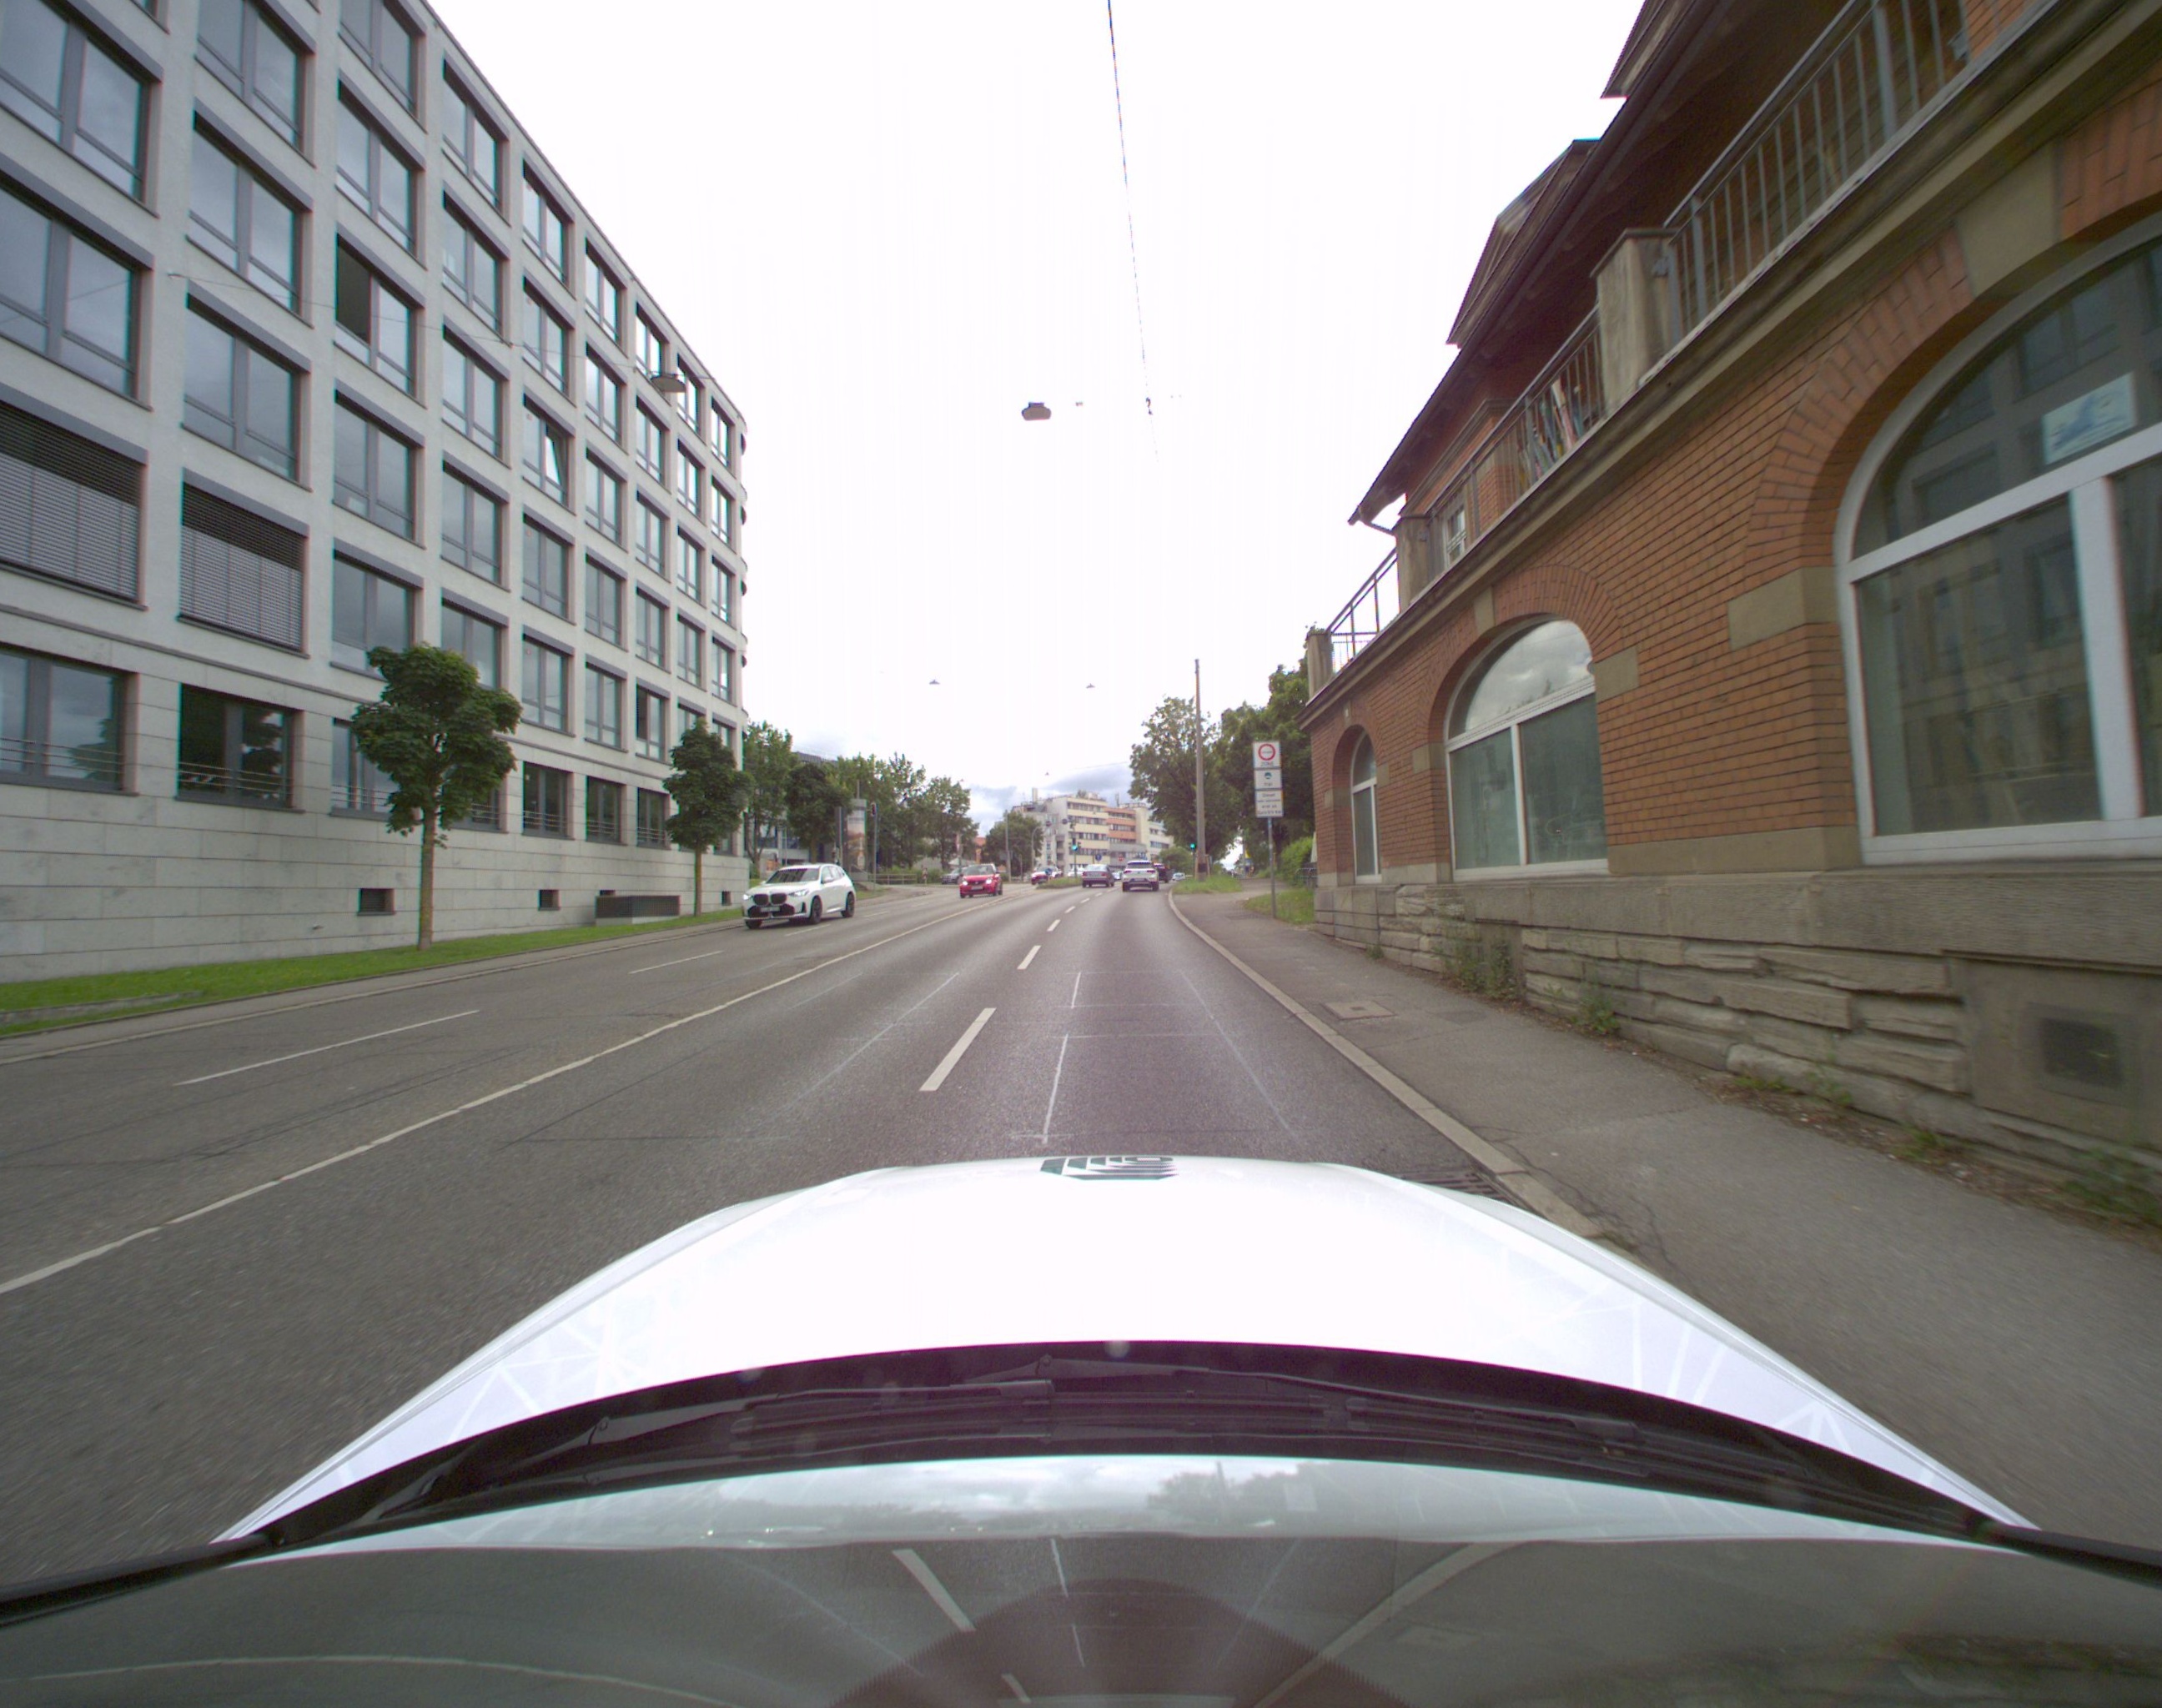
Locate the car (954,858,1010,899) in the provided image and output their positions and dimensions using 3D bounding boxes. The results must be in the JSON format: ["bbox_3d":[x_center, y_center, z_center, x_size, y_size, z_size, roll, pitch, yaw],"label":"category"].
[{"bbox_3d":[-4.667,1.128,38.907,1.862,1.702,4.431,-4,0,2],"label":"car"}]

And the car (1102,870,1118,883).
[{"bbox_3d":[3.725,2.849,103.143,1.769,1.481,4.487,-2,-1,5],"label":"car"}]

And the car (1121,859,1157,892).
[{"bbox_3d":[3.056,1.058,42.241,1.691,1.548,3.743,1,1,7],"label":"car"}]

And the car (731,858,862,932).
[{"bbox_3d":[-7.977,1.073,23.392,1.862,1.789,4.656,-4,0,2],"label":"car"}]

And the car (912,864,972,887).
[{"bbox_3d":[-10.134,1.558,59.383,4.023,1.544,1.759,0,-1,-45],"label":"car"}]

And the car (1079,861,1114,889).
[{"bbox_3d":[0.988,1.232,49.519,1.690,1.516,3.744,-2,0,8],"label":"car"}]

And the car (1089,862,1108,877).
[{"bbox_3d":[1.937,1.699,88.417,1.769,1.565,4.005,-2,-1,5],"label":"car"}]

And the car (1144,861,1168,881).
[{"bbox_3d":[5.805,1.322,63.661,1.693,1.516,3.496,-1,-2,3],"label":"car"}]

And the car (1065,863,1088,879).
[{"bbox_3d":[-0.357,1.575,76.589,1.769,1.481,3.985,-2,-1,5],"label":"car"}]

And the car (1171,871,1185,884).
[{"bbox_3d":[12.879,3.059,107.777,1.761,1.571,4.292,-2,0,6],"label":"car"}]

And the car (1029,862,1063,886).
[{"bbox_3d":[-2.553,1.467,60.810,1.761,1.570,4.292,-4,0,6],"label":"car"}]

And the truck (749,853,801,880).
[{"bbox_3d":[-27.445,1.080,73.137,1.975,2.387,4.024,0,0,28],"label":"truck"}]

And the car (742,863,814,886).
[{"bbox_3d":[-20.310,1.353,54.821,1.759,1.463,4.466,0,-1,27],"label":"car"}]

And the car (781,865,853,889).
[{"bbox_3d":[-16.958,1.443,52.535,1.759,1.463,4.467,0,0,27],"label":"car"}]
